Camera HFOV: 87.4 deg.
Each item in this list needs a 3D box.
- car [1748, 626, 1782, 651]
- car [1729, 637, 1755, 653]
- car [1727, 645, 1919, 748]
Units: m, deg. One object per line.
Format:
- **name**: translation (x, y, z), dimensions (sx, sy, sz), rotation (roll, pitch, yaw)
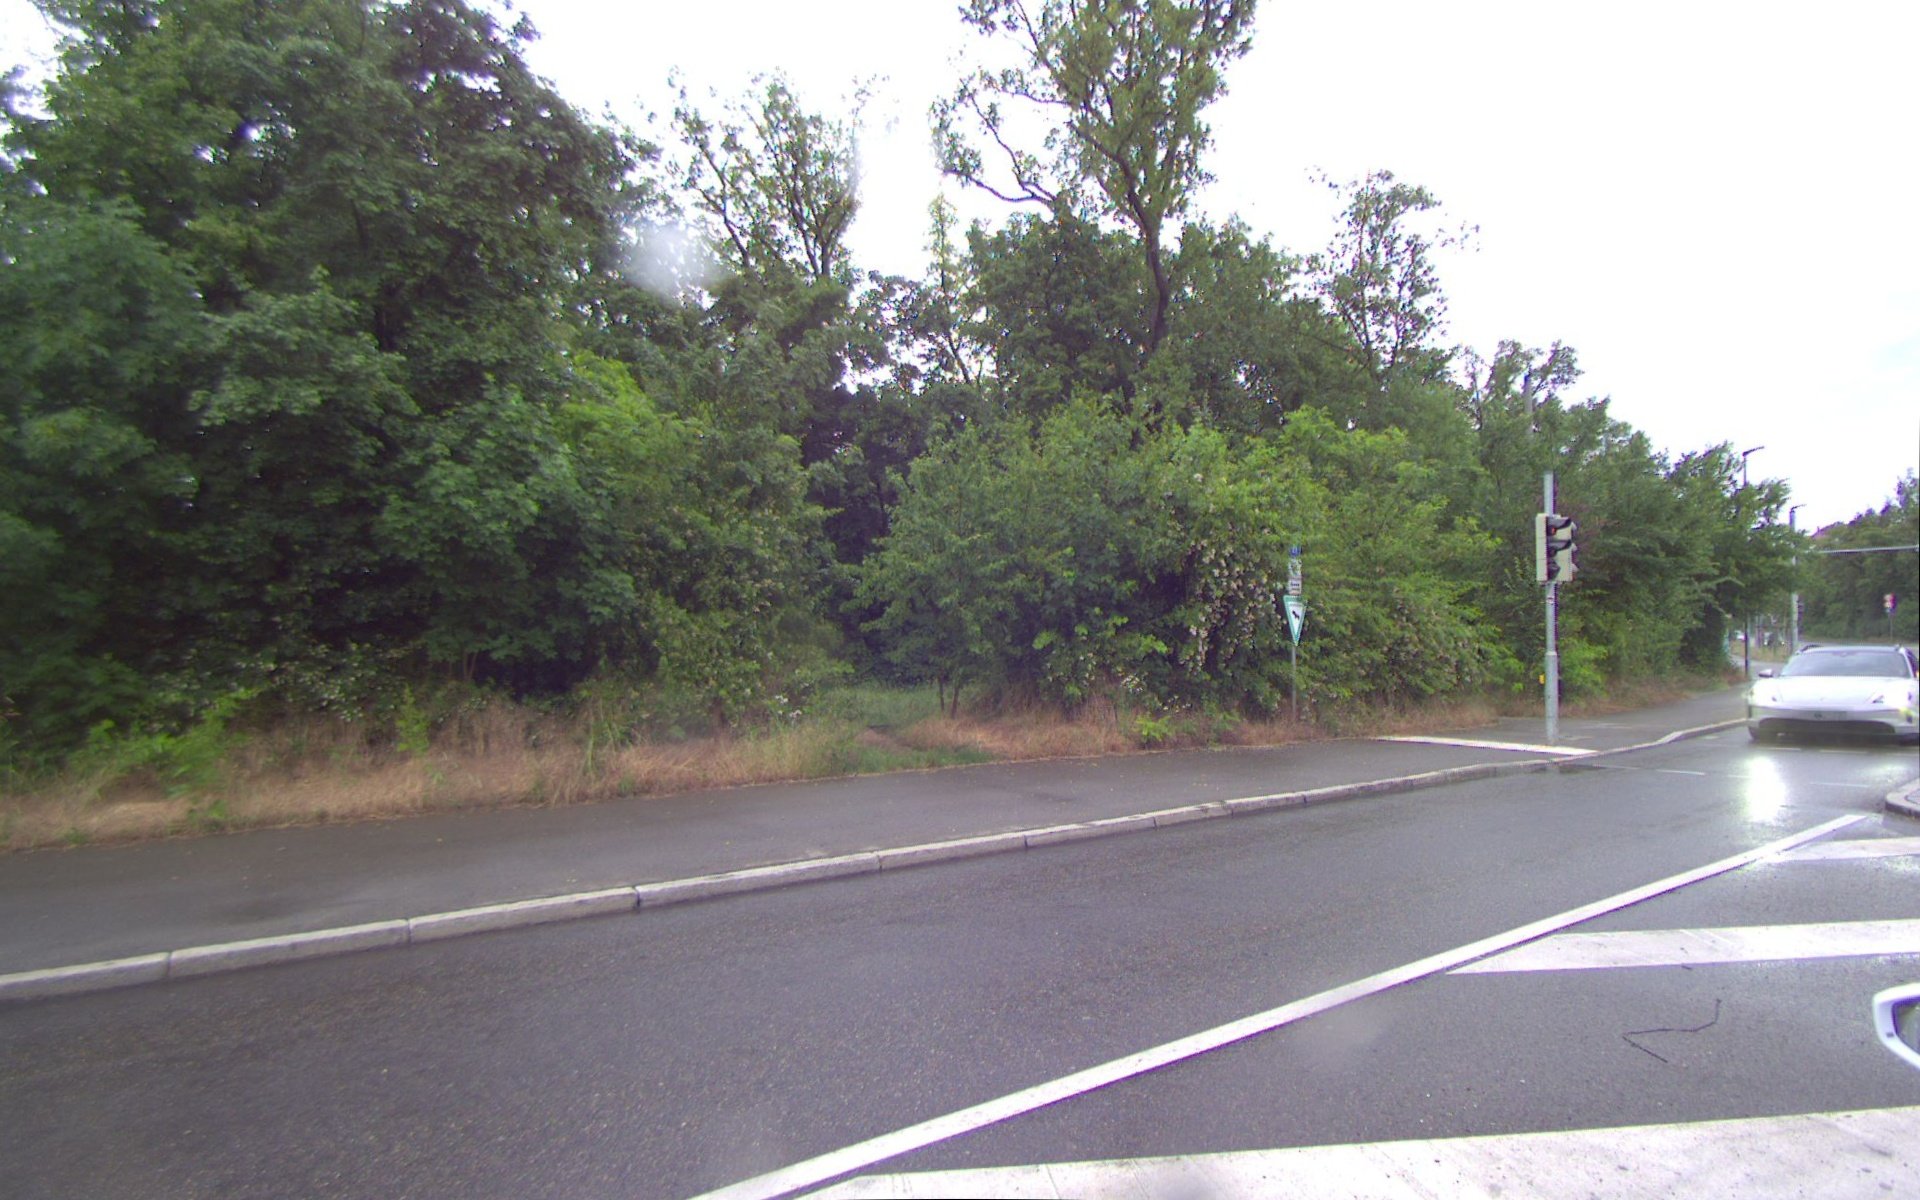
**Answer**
- **car**: translation (69.804, 3.318, 87.167), dimensions (1.967, 2.040, 3.988), rotation (1, -1, 34)
- **car**: translation (82.304, 4.743, 105.737), dimensions (1.970, 1.606, 3.981), rotation (1, -2, 40)
- **car**: translation (13.647, 1.398, 15.500), dimensions (4.324, 1.328, 1.977), rotation (1, -4, -40)
